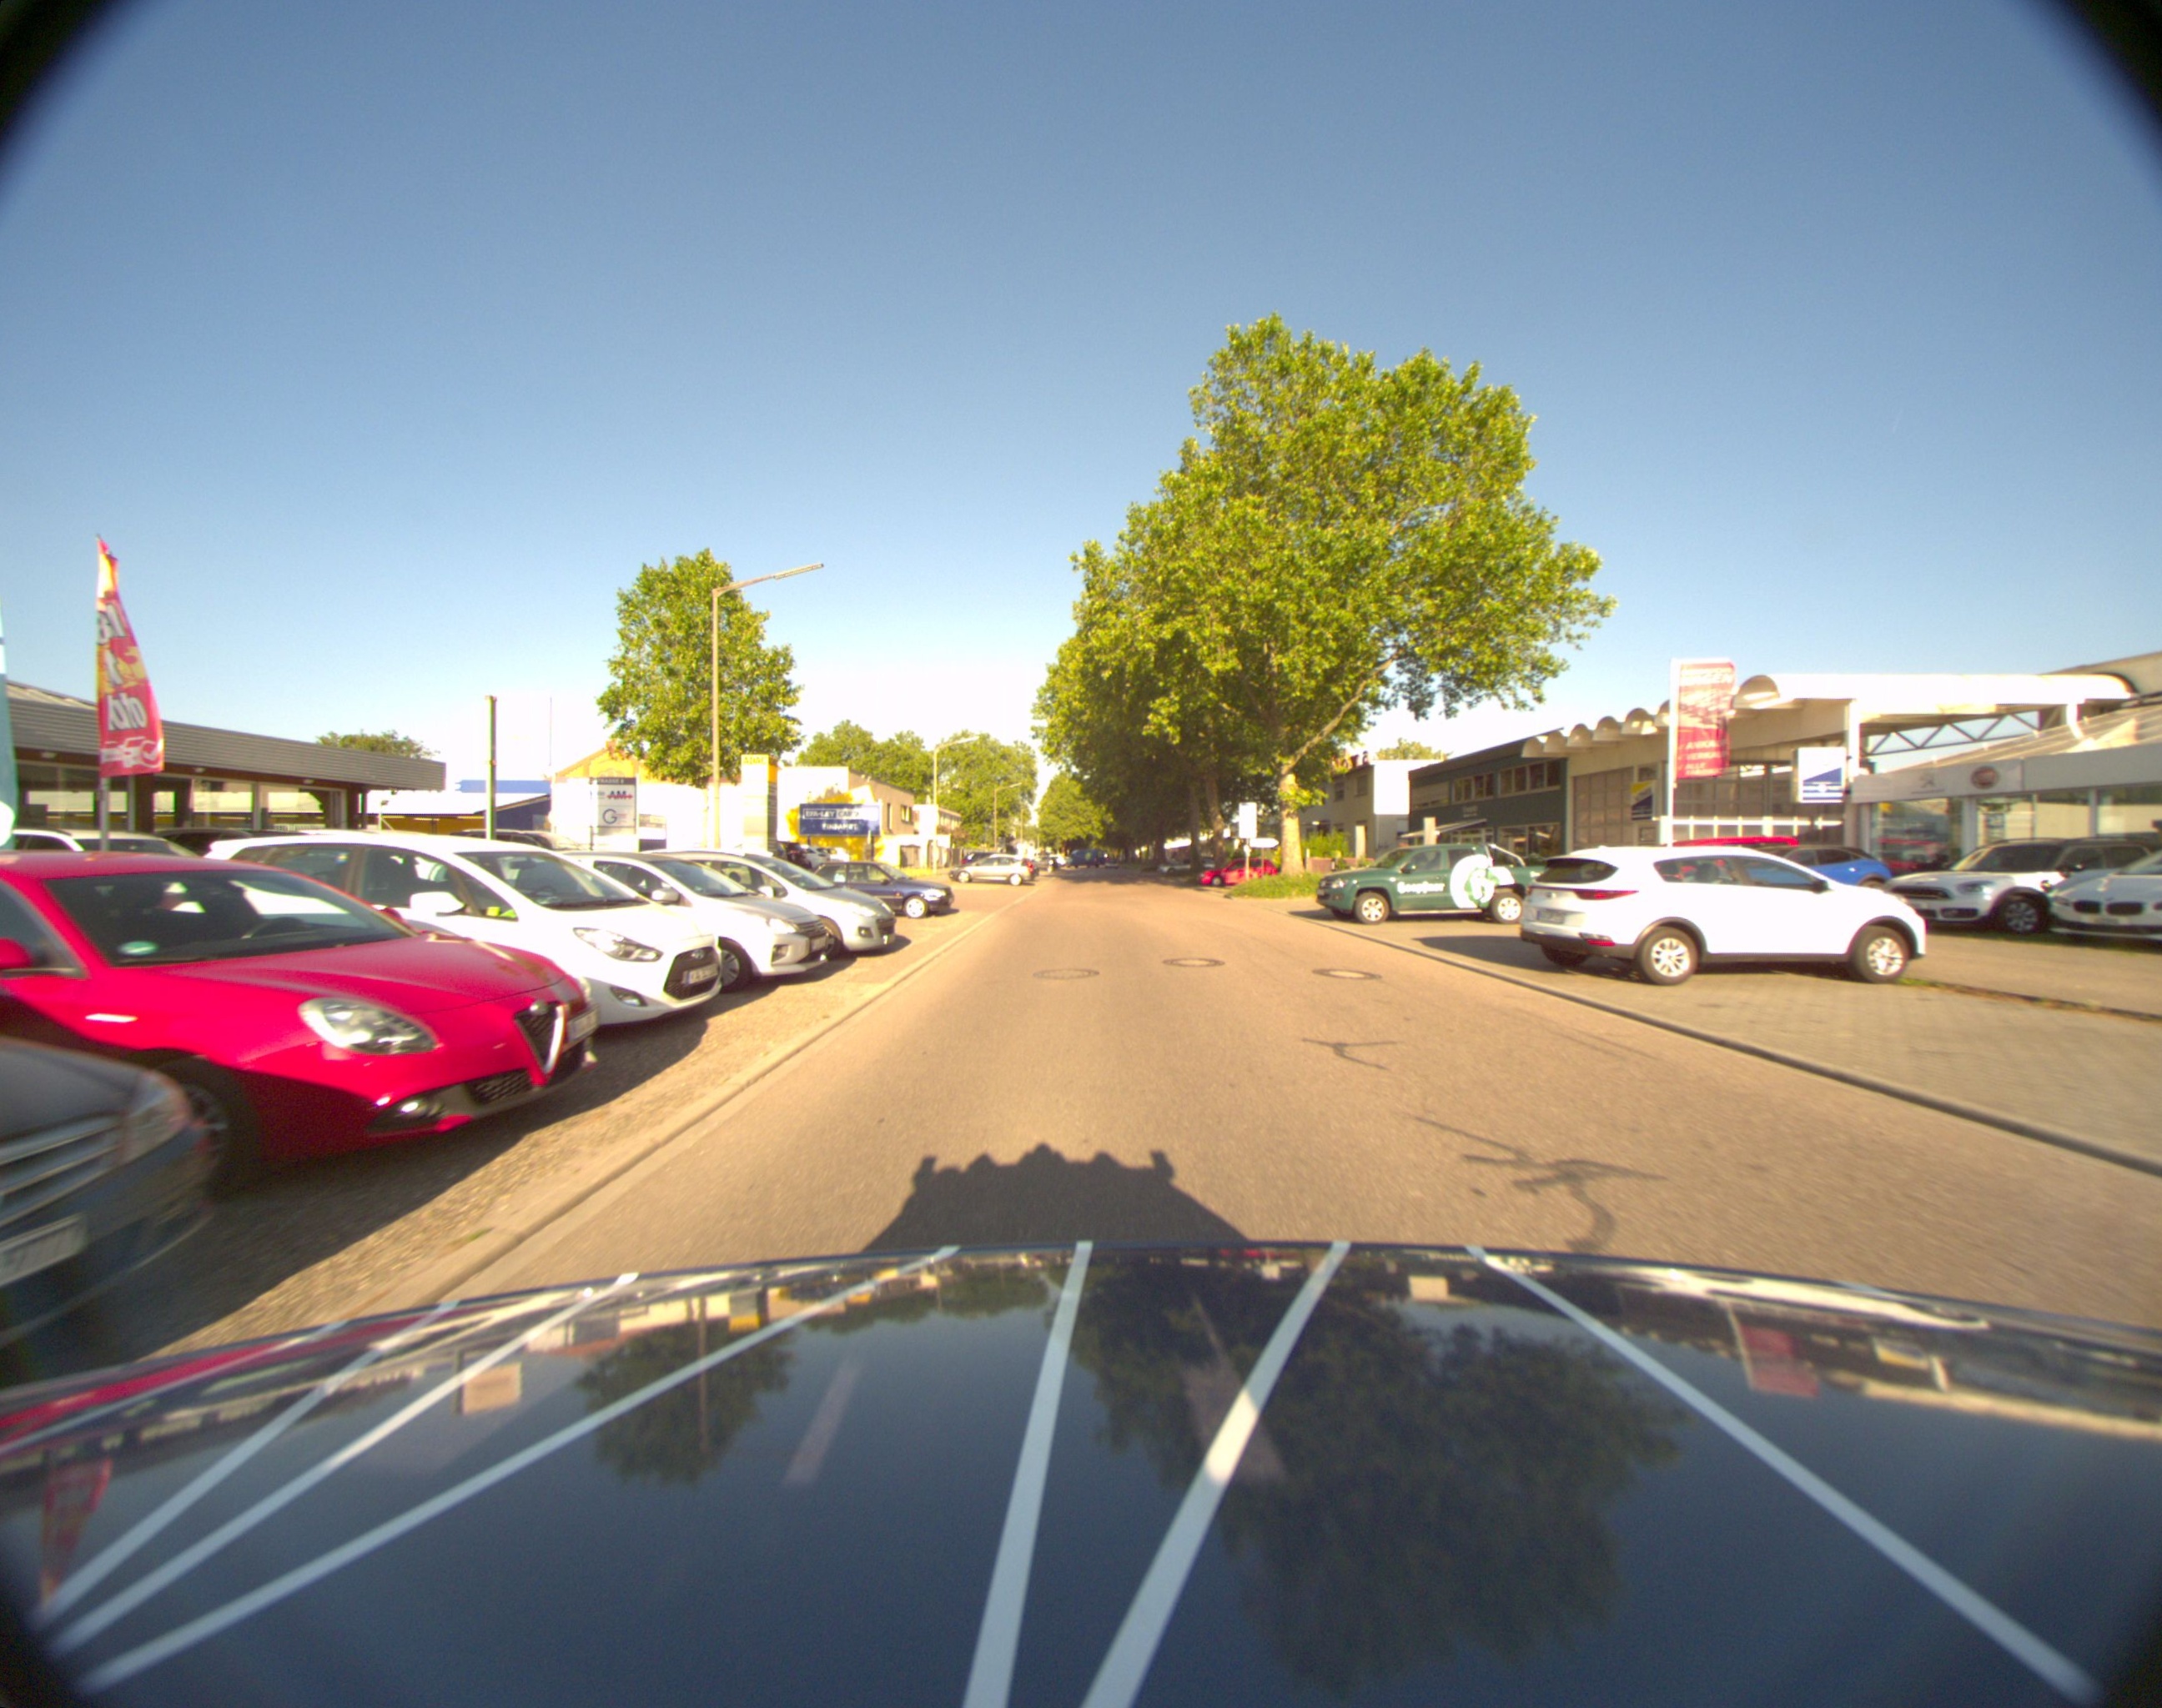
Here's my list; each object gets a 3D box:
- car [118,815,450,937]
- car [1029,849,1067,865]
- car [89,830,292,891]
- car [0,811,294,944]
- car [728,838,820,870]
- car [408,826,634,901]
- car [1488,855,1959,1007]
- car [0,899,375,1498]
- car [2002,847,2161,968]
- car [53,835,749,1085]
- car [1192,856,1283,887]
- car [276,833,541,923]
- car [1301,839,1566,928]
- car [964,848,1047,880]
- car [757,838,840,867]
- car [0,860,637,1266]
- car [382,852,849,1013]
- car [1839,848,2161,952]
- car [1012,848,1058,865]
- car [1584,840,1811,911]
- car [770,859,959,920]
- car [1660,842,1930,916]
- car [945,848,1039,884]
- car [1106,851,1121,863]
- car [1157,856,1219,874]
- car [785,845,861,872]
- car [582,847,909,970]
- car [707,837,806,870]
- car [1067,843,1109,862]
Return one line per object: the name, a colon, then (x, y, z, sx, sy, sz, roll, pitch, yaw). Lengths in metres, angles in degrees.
car: (-14.736, 0.389, 14.275, 3.809, 1.887, 2.202, 4, 0, 0)
car: (-4.045, 0.378, 93.856, 4.636, 1.702, 2.000, 3, 0, -1)
car: (-25.768, 0.152, 22.193, 3.585, 1.623, 1.733, -1, 1, -41)
car: (-14.996, 0.299, 11.652, 3.912, 1.888, 1.786, 0, 2, 0)
car: (-15.985, -0.013, 39.757, 3.998, 1.586, 1.999, -1, 1, -4)
car: (-15.195, 0.237, 20.845, 4.507, 1.887, 2.202, -1, 1, 0)
car: (8.009, 0.883, 9.844, 4.314, 1.646, 2.201, -1, 1, -2)
car: (-4.965, 0.861, 1.858, 4.448, 1.427, 2.135, 2, 0, 0)
car: (16.846, 0.694, 11.045, 4.673, 1.583, 1.928, -1, 1, -1)
car: (-5.334, 0.759, 6.505, 4.120, 1.729, 1.883, -1, 1, -3)
car: (8.147, 0.890, 39.841, 4.307, 1.438, 2.000, -1, 1, 0)
car: (-14.912, 0.550, 17.069, 3.943, 1.886, 2.203, 0, -2, 0)
car: (8.160, 0.655, 17.999, 5.273, 1.887, 2.202, -1, 1, 0)
car: (-4.474, 0.580, 45.560, 4.611, 1.570, 2.000, 3, 1, 3)
car: (-15.892, -0.073, 42.926, 3.998, 1.510, 1.952, -1, 1, -4)
car: (-4.966, 0.879, 3.929, 4.253, 1.596, 1.746, -1, 1, -1)
car: (-5.052, 0.816, 8.821, 4.120, 1.608, 2.058, 1, 0, -3)
car: (16.953, 0.758, 13.651, 4.730, 1.633, 2.000, -1, 1, -1)
car: (-4.780, 0.269, 80.033, 4.636, 1.518, 2.000, 3, 0, -1)
car: (17.094, 0.577, 21.245, 4.758, 1.809, 2.000, -1, 1, -1)
car: (-5.161, 0.824, 18.447, 3.996, 1.288, 1.784, 2, 0, 3)
car: (17.169, 0.566, 18.448, 4.726, 1.624, 2.000, -1, 1, -1)
car: (-4.634, 0.604, 40.056, 4.612, 1.604, 2.000, 3, 1, 0)
car: (4.348, 0.418, 103.137, 1.843, 1.562, 3.802, 2, 0, 0)
car: (8.399, 0.852, 59.853, 4.611, 1.413, 2.000, 0, -1, 0)
car: (-15.781, 0.264, 46.573, 3.998, 1.488, 1.999, -1, 0, -4)
car: (-4.760, 0.747, 11.275, 3.998, 1.578, 1.867, 2, 0, -3)
car: (-15.881, -0.027, 37.406, 3.998, 1.510, 1.999, -1, 0, -4)
car: (0.971, -0.200, 112.454, 2.139, 2.643, 6.981, 1, -1, -41)
